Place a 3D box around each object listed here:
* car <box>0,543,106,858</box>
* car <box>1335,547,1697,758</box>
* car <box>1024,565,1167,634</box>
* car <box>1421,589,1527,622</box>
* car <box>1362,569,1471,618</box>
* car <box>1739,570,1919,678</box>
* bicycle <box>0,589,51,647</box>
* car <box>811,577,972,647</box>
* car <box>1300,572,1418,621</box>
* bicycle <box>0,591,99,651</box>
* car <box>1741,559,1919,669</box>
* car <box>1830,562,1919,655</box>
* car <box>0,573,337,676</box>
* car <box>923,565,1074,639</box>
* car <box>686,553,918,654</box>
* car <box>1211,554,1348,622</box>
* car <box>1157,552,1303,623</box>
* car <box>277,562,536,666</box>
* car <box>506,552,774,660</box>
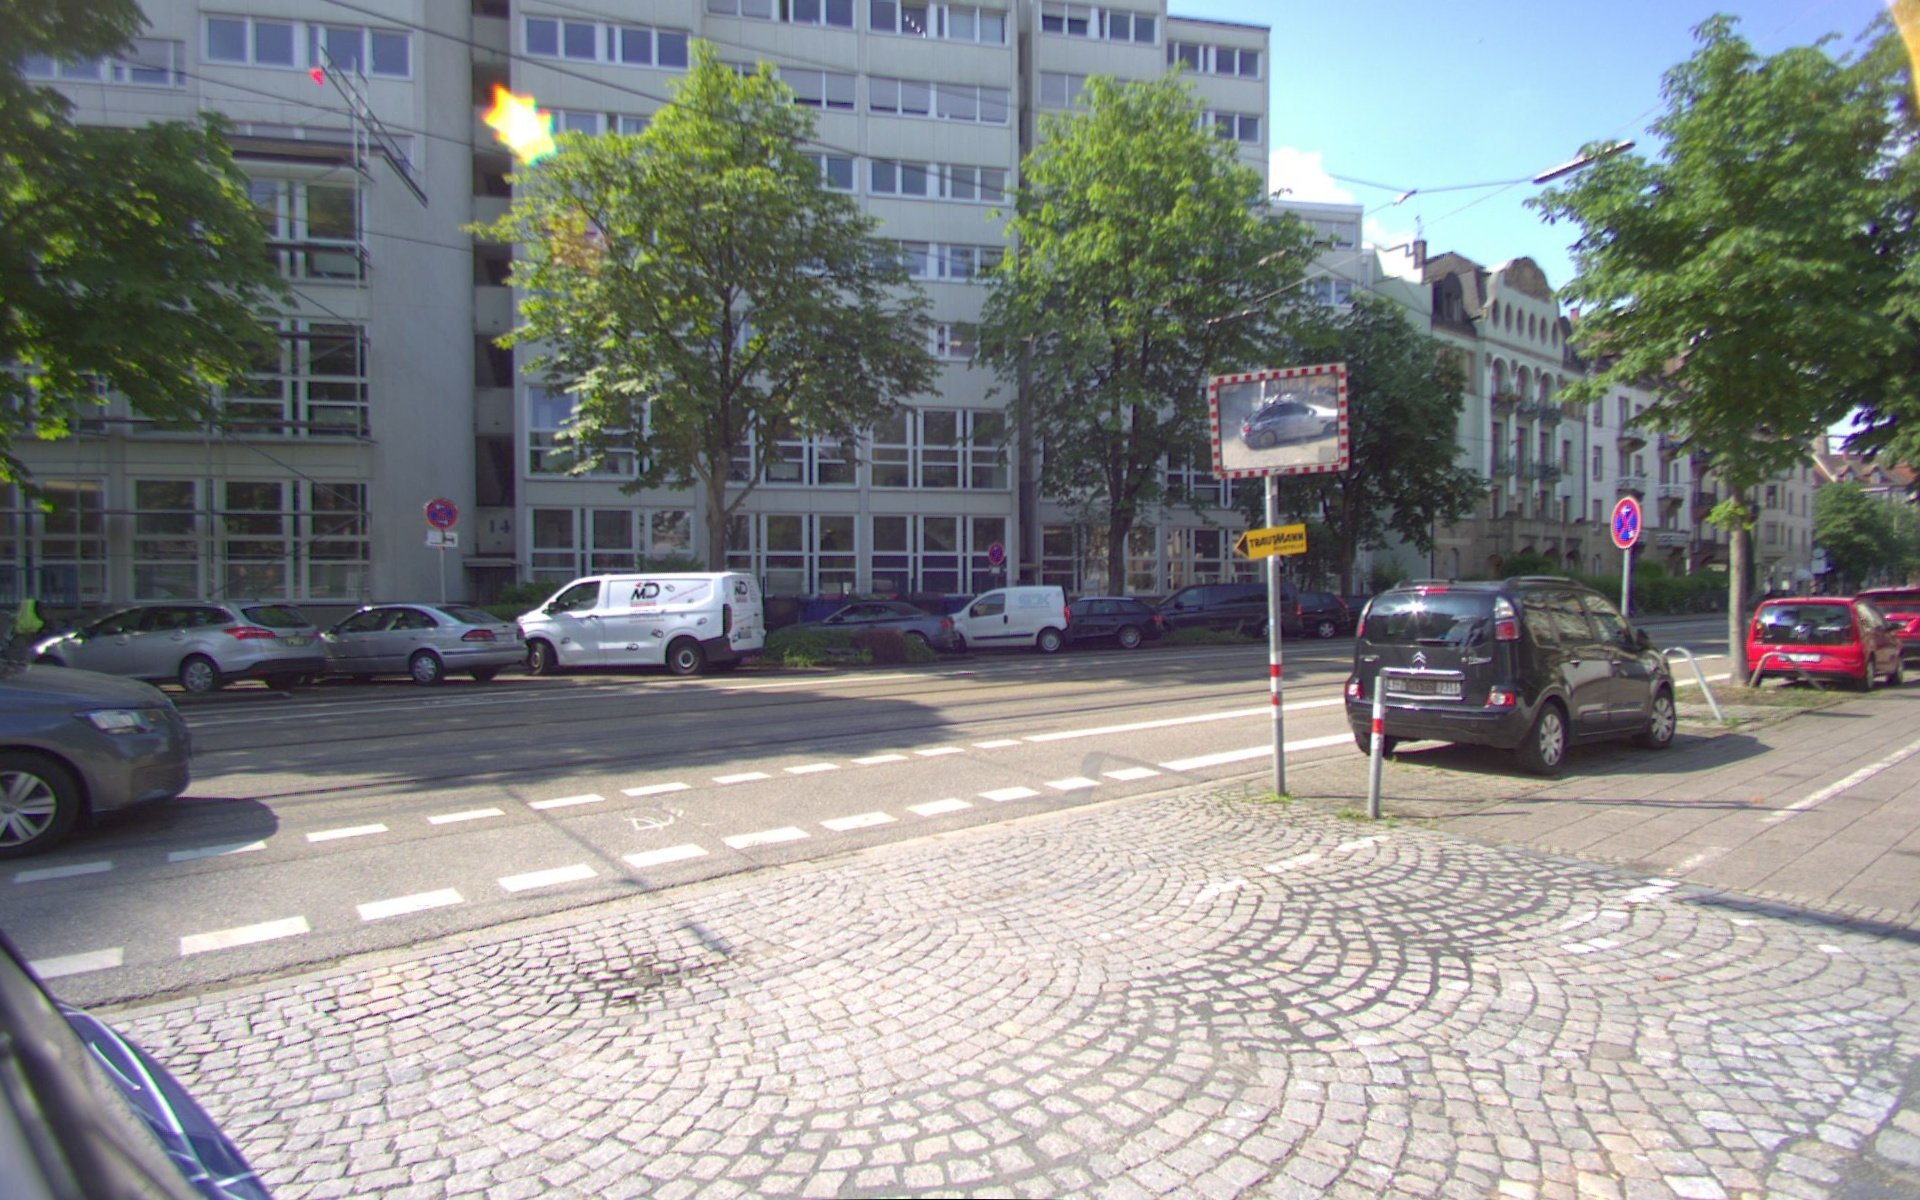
[{"bbox_3d":[-7.628,0.575,5.269,4.759,1.787,1.951,-1,2,-38],"label":"car"},{"bbox_3d":[5.310,0.434,9.529,3.527,1.624,1.682,0,-3,-39],"label":"car"},{"bbox_3d":[3.682,-0.030,27.771,3.713,1.725,1.880,-2,2,7],"label":"car"},{"bbox_3d":[22.195,0.230,43.809,3.750,1.316,1.631,-1,1,14],"label":"car"},{"bbox_3d":[18.087,-0.267,40.251,3.569,1.589,1.627,-5,-1,13],"label":"car"},{"bbox_3d":[14.290,0.354,16.527,3.227,1.497,1.676,-3,0,-38],"label":"car"},{"bbox_3d":[-18.793,0.362,19.753,0.489,1.095,2.060,-2,2,-9],"label":"bicycle"},{"bbox_3d":[-1.578,0.266,24.086,3.590,1.512,1.760,-2,1,4],"label":"car"},{"bbox_3d":[13.970,-0.160,35.616,3.618,1.538,1.577,1,4,13],"label":"car"},{"bbox_3d":[-18.094,0.384,20.087,0.489,1.095,2.060,-2,2,-9],"label":"bicycle"},{"bbox_3d":[14.481,0.214,16.668,3.527,1.624,1.682,-1,-2,-38],"label":"car"},{"bbox_3d":[19.769,0.118,20.868,3.935,1.718,1.971,-3,2,-37],"label":"car"},{"bbox_3d":[-12.598,0.358,16.111,4.406,1.437,1.738,-2,1,6],"label":"car"},{"bbox_3d":[1.031,0.041,25.964,3.713,1.725,1.880,-2,2,7],"label":"car"},{"bbox_3d":[-3.307,0.028,21.514,4.524,2.012,1.897,0,2,11],"label":"car"},{"bbox_3d":[10.636,-0.447,33.969,4.162,2.096,1.876,1,4,13],"label":"car"},{"bbox_3d":[8.450,-0.429,31.958,4.153,2.096,1.880,1,4,7],"label":"car"},{"bbox_3d":[-9.794,0.245,18.029,3.741,1.486,1.721,-4,0,9],"label":"car"},{"bbox_3d":[-6.140,0.058,19.660,4.592,1.926,1.926,0,3,11],"label":"car"}]
